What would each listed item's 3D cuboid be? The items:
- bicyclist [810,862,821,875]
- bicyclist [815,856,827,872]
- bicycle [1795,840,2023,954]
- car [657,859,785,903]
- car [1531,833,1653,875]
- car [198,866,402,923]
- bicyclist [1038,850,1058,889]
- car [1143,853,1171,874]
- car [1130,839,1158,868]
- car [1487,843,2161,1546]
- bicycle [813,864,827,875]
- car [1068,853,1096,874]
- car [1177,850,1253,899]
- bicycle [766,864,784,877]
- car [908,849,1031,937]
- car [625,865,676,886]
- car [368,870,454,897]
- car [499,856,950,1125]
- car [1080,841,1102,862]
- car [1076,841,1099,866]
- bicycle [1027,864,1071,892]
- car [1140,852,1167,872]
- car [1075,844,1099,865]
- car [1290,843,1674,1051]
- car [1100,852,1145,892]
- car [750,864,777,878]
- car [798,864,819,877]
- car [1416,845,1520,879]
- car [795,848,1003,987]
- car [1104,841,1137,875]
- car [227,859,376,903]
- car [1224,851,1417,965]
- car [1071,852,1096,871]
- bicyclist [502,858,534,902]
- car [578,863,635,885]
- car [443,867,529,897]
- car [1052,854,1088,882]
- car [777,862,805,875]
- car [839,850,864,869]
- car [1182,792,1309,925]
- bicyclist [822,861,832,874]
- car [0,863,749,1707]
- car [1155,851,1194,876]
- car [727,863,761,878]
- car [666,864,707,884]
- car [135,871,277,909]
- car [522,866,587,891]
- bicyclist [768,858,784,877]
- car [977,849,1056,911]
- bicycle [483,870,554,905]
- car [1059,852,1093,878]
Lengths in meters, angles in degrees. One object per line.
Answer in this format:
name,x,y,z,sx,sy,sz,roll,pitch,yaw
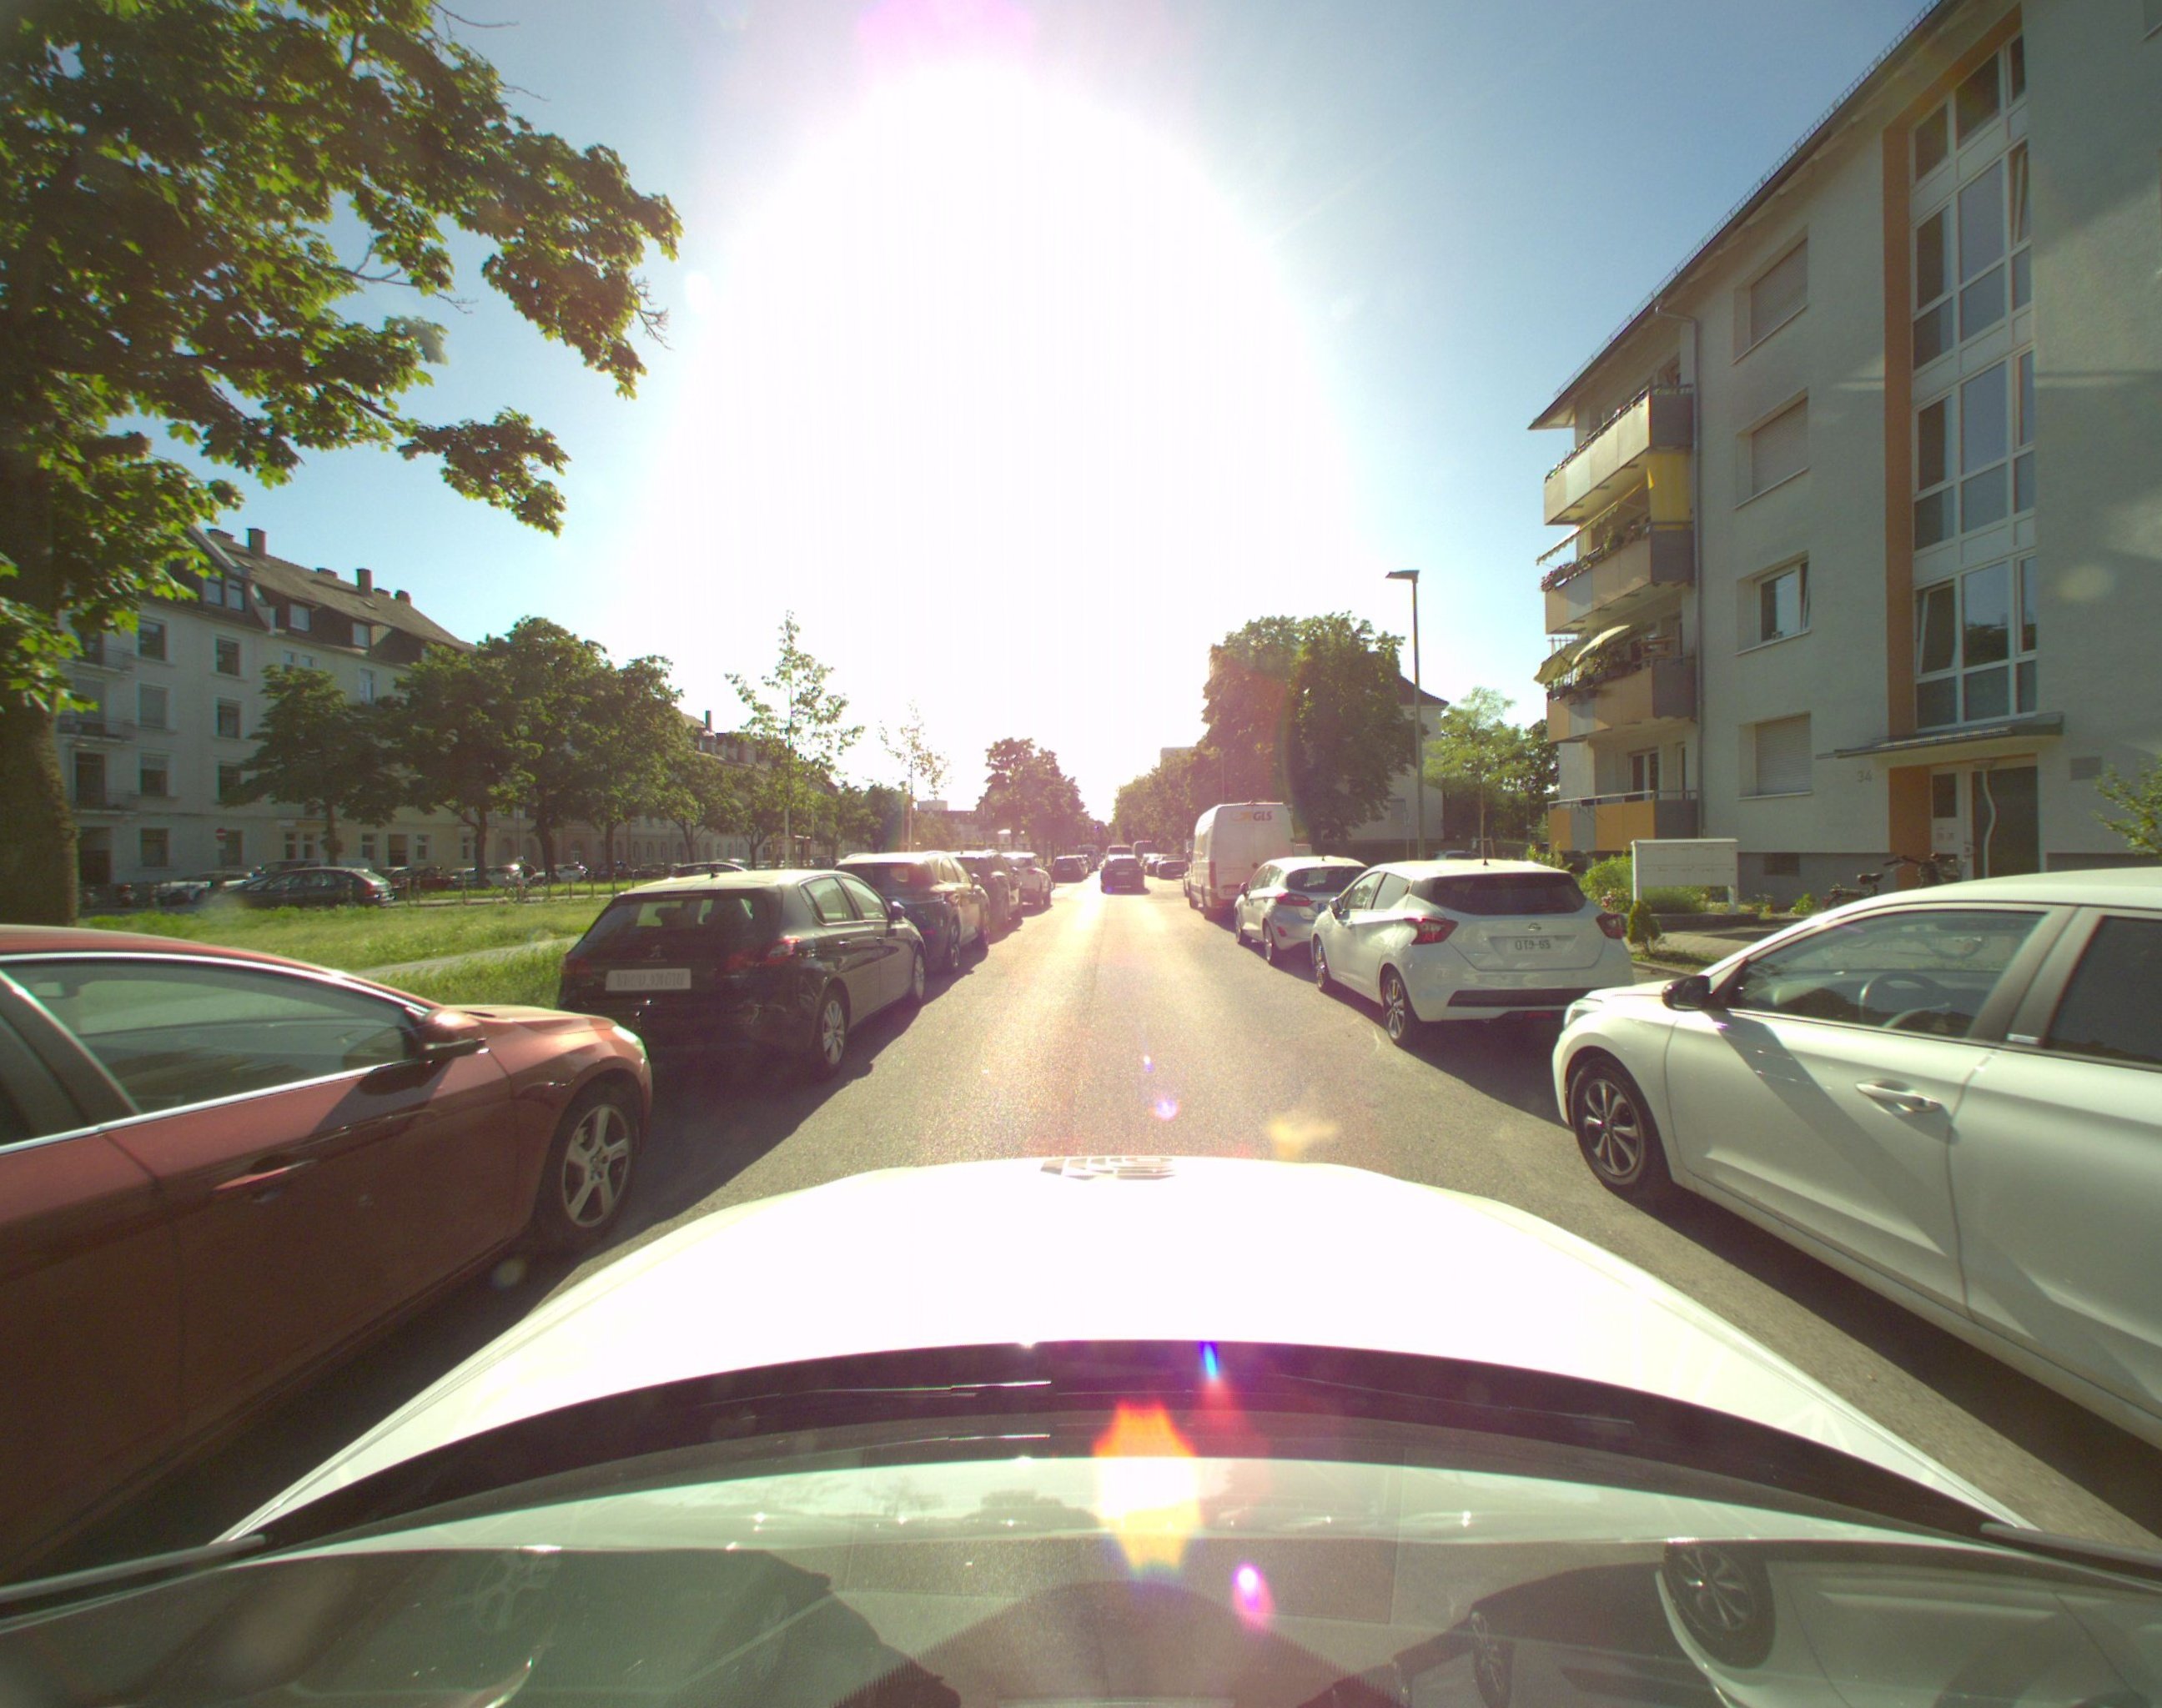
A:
bicyclist,-30.479,1.646,93.584,0.735,1.437,0.943,-9,-2,2
bicyclist,-30.743,1.141,96.254,0.938,1.837,1.450,-2,-1,1
bicycle,9.487,0.468,9.469,0.593,1.176,2.014,-1,-1,1
car,-13.682,0.992,31.189,4.352,1.409,1.907,-1,2,-22
car,22.677,0.007,36.262,4.265,1.730,1.870,-1,0,1
car,-25.314,1.265,26.627,4.352,1.576,1.915,-2,0,-22
bicyclist,-1.355,0.627,33.345,0.786,1.596,0.696,-1,0,-1
car,5.260,0.614,56.422,1.772,1.371,4.130,-1,0,3
car,5.962,-0.046,77.968,2.156,2.689,5.414,-1,0,-1
car,3.140,0.702,2.628,1.714,1.435,4.155,-2,0,2
bicycle,-30.778,1.800,96.084,0.807,1.252,2.634,0,-1,1
car,0.077,0.667,59.349,1.772,1.461,4.130,-1,0,3
car,4.559,0.655,28.298,1.951,1.481,4.500,-3,0,1
bicycle,-30.992,1.693,82.636,0.807,1.252,2.634,-1,0,0
car,-2.343,0.756,18.357,1.835,1.638,4.718,-3,0,2
car,-35.126,1.742,66.539,1.751,1.549,4.527,-1,0,0
car,-35.824,1.562,43.642,1.689,1.279,3.525,-1,0,0
car,-2.553,0.846,7.234,1.867,1.519,4.471,-3,0,1
car,1.439,-0.359,109.494,2.605,2.645,6.120,-1,0,3
car,0.723,-0.047,84.032,2.089,2.496,4.130,-1,0,3
bicycle,-1.311,0.973,33.346,1.755,1.127,0.662,-1,-1,-1
car,5.536,0.592,62.794,1.773,1.487,4.032,-1,0,1
car,0.621,0.012,77.618,2.090,1.942,4.129,-1,0,2
car,3.442,0.671,8.001,1.870,1.475,4.143,-1,0,3
car,1.738,0.704,33.932,1.772,1.531,4.004,0,0,3
car,-34.345,1.837,88.110,1.374,1.440,3.345,-1,0,3
car,-33.701,2.022,100.672,1.512,1.440,3.231,-1,0,0
car,17.226,0.341,36.334,3.876,1.429,1.657,-1,0,-2
car,-2.441,0.767,12.266,1.812,1.610,4.741,-3,0,2
car,2.513,0.243,51.437,1.886,1.991,4.014,-3,0,3
car,-36.384,1.207,38.276,2.075,1.872,5.097,-1,0,0
car,3.488,0.696,12.690,1.842,1.466,4.202,0,0,1
car,0.232,0.637,69.153,1.825,1.500,4.130,-1,0,3
bicyclist,-21.879,0.996,31.675,0.880,1.690,0.627,-2,0,-25
car,-35.108,1.450,60.356,1.626,1.549,4.354,-1,0,0
car,-35.657,1.646,48.949,1.689,1.561,4.697,-1,0,0
car,-0.591,0.802,46.776,1.740,1.425,3.920,-3,-1,3
car,-34.223,1.711,96.168,1.839,1.440,3.777,-1,0,2
car,-33.483,0.743,118.905,1.909,2.744,5.624,-1,0,0
car,3.914,0.075,20.656,2.133,2.713,6.848,-3,0,4
bicyclist,-29.387,1.589,94.310,0.735,1.437,0.943,-2,-1,2
car,-2.740,0.846,2.064,1.749,1.492,4.669,-3,0,1
car,5.746,0.562,50.445,2.116,1.337,4.510,-4,0,3
car,-34.513,1.712,83.423,1.687,1.429,3.778,-1,0,3
car,-34.889,1.731,72.091,1.626,1.686,4.080,-1,0,0
car,-41.629,1.667,38.925,1.988,1.586,4.449,-1,0,-2
car,-35.486,1.628,55.015,1.689,1.526,4.080,-1,0,0
bicyclist,-30.941,1.346,82.603,0.938,1.837,1.449,-2,-1,0
car,-1.869,0.727,24.830,1.749,1.647,4.291,-3,0,3
bicycle,-21.845,1.289,31.692,2.157,1.258,0.709,-1,0,-25
car,-0.287,0.682,51.423,1.769,1.495,3.878,-3,-1,3
